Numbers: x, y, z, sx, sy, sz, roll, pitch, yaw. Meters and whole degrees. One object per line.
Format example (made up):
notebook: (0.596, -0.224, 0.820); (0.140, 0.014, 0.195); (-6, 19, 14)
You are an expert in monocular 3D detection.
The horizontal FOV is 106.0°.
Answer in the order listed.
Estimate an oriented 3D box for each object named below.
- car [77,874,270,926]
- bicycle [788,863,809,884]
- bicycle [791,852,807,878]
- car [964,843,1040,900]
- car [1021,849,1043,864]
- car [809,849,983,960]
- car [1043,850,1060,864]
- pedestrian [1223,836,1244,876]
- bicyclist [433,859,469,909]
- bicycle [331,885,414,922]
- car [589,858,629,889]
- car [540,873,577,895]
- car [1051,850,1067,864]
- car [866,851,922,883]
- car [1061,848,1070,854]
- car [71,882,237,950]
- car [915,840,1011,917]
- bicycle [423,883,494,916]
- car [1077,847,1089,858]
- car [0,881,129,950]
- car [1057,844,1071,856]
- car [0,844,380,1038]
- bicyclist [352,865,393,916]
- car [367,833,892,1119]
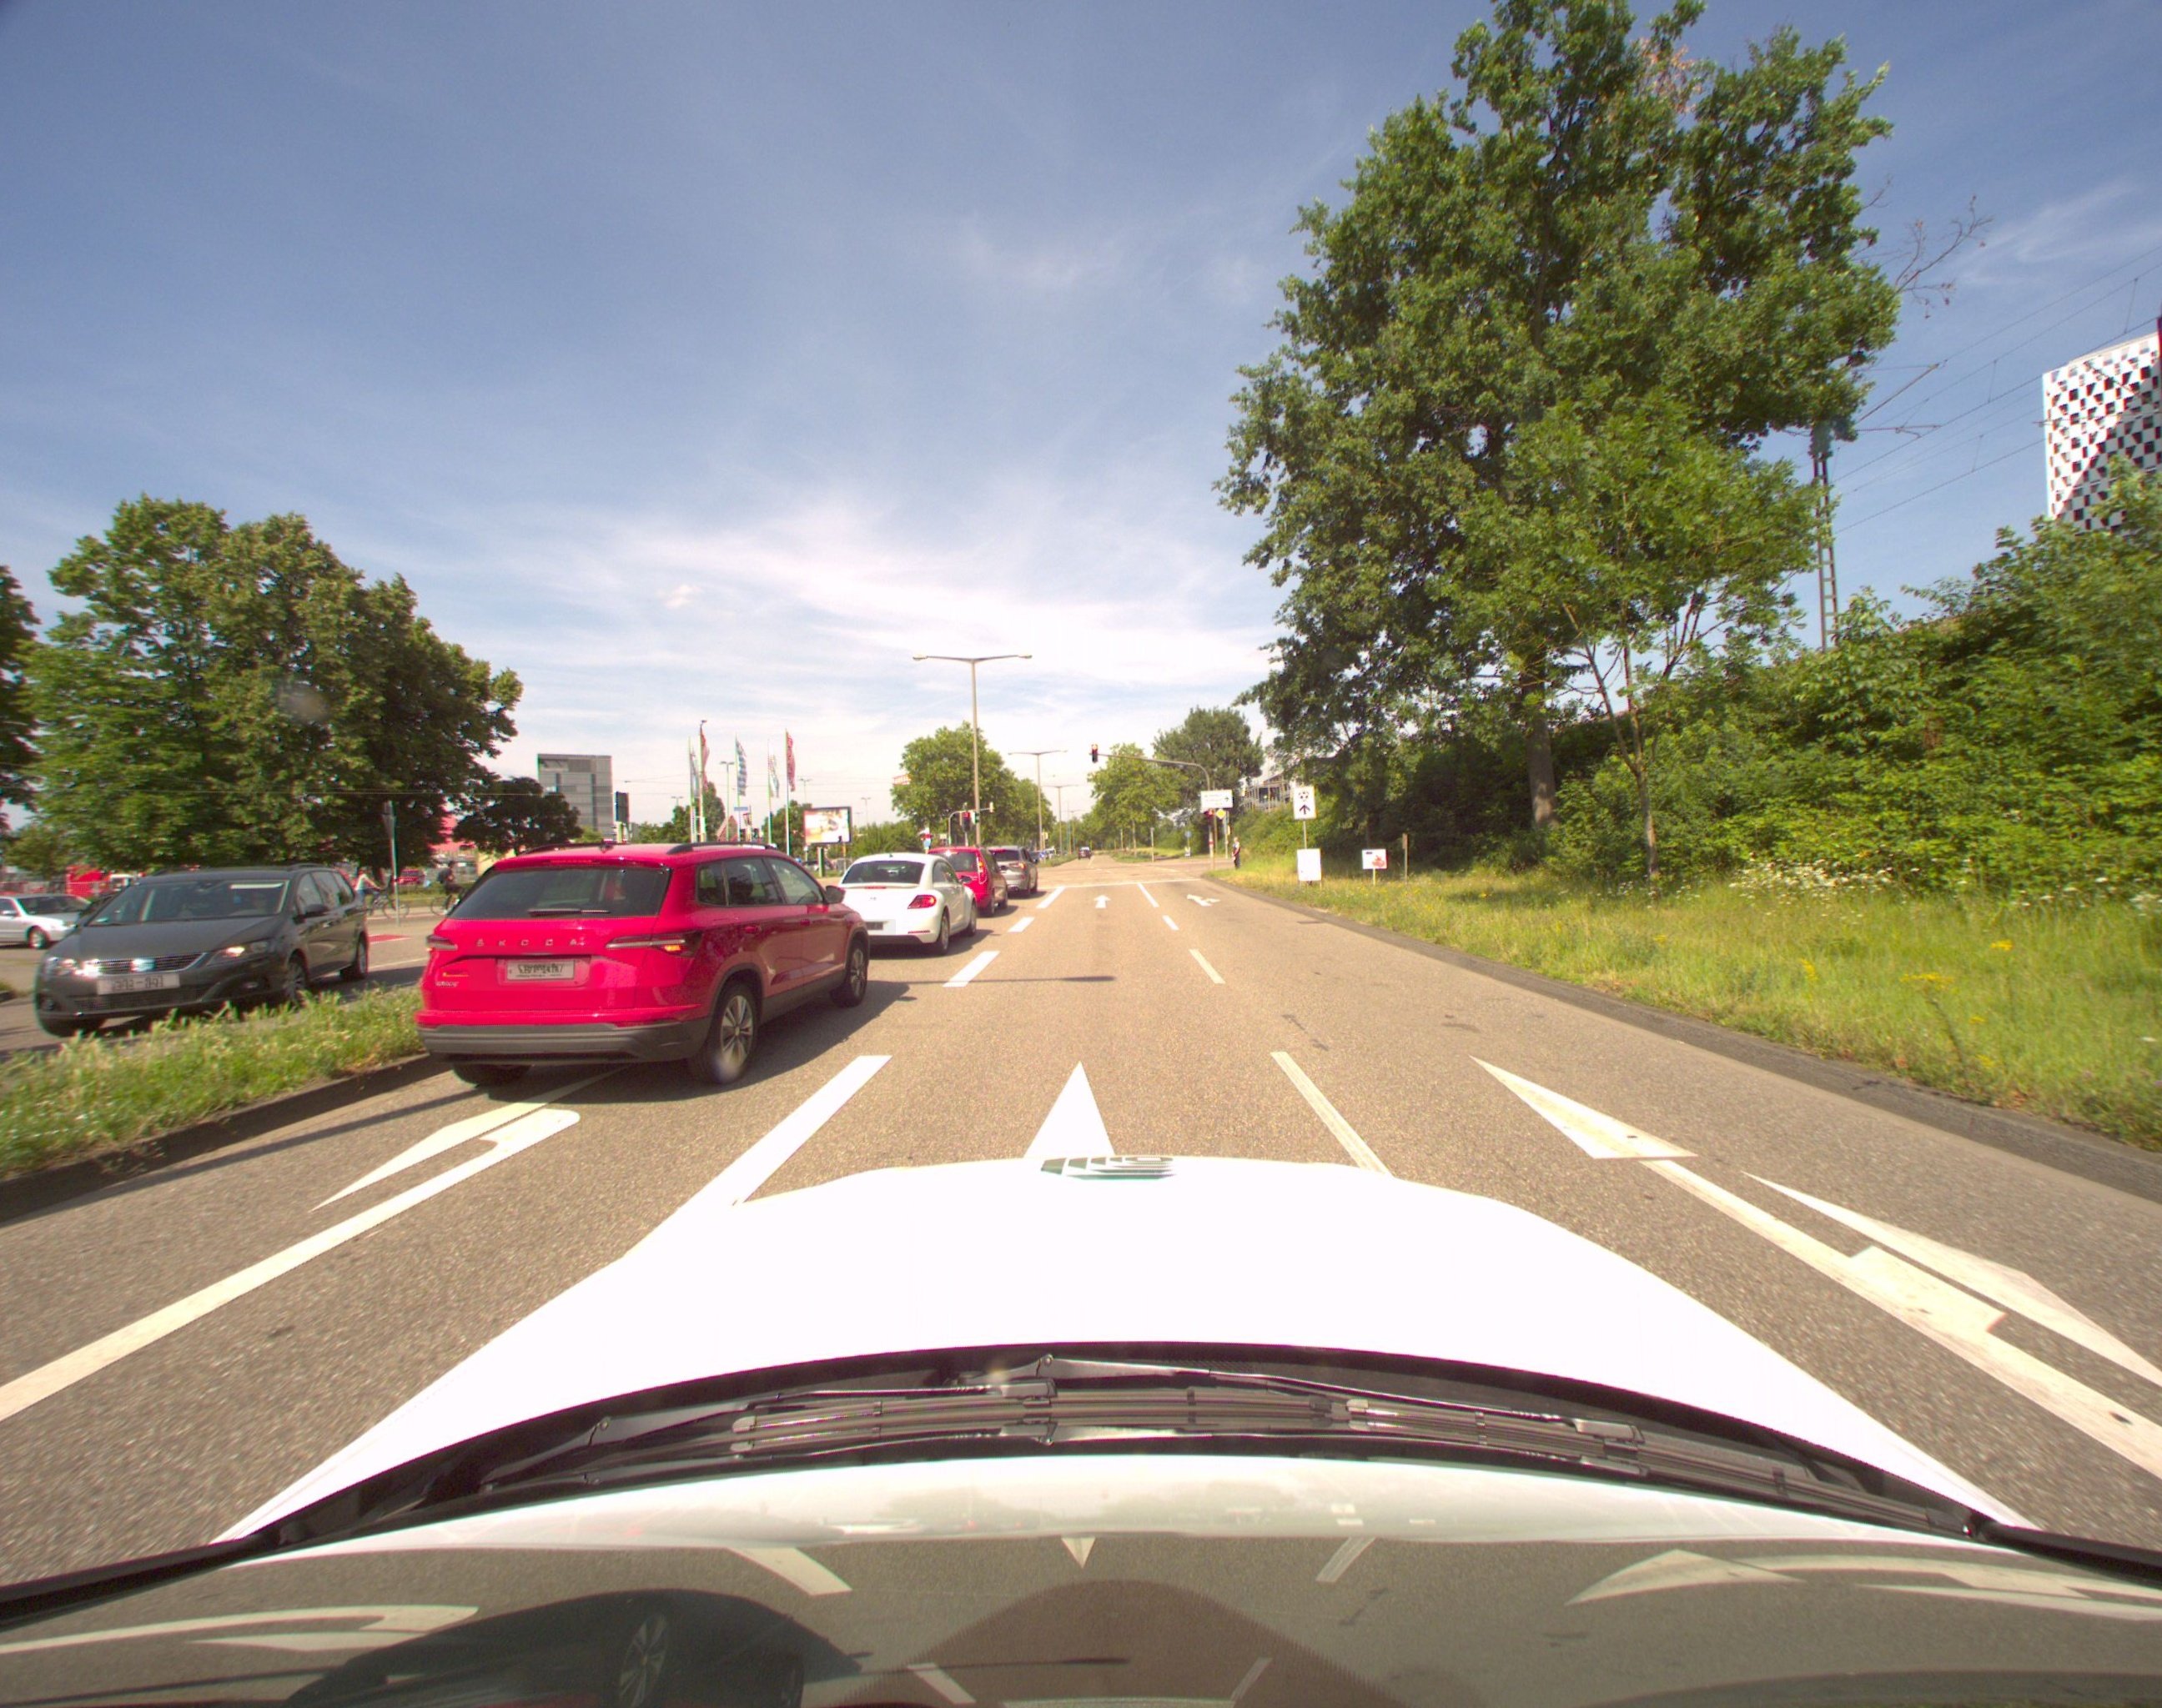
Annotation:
car: (-30.315, 1.496, 27.413); (4.020, 1.420, 1.977); (-3, 1, -39)
bicycle: (-18.254, 1.234, 52.668); (0.670, 1.256, 2.244); (-3, 0, -3)
bicycle: (-18.259, 0.702, 52.684); (0.671, 1.615, 0.991); (-3, 0, -4)
car: (-2.455, 0.506, 26.300); (1.874, 1.618, 4.214); (-2, 0, 1)
car: (-5.332, 0.280, 88.706); (1.986, 1.500, 4.001); (-2, 0, 1)
car: (-2.762, 0.677, 13.141); (1.760, 1.479, 4.137); (-1, 0, 1)
car: (-3.807, 0.368, 105.053); (1.896, 1.596, 4.001); (-2, 0, 1)
pedestrian: (7.496, 0.085, 39.959); (0.835, 1.932, 0.771); (-2, 2, -2)
bicyclist: (-22.669, 1.063, 29.336); (0.904, 1.715, 0.774); (-3, 3, -34)
bicycle: (-23.945, 1.655, 27.574); (2.019, 1.039, 0.737); (-3, 3, -35)
car: (-40.627, 1.675, 70.089); (2.011, 2.532, 4.583); (-3, 1, -42)
car: (-43.328, 2.484, 67.519); (2.011, 1.684, 3.953); (-3, 1, -40)
car: (-3.114, 0.443, 117.335); (1.987, 1.895, 4.376); (-2, 0, 1)
car: (-9.864, 0.659, 43.245); (1.769, 1.470, 4.002); (-4, 0, 2)
car: (-4.977, -0.933, 255.970); (1.869, 1.694, 4.388); (-2, 0, -14)
car: (-22.660, 1.467, 19.900); (3.949, 1.388, 1.776); (-2, 1, 28)
car: (-2.730, 0.550, 19.640); (1.623, 1.595, 3.919); (-2, -1, 1)
bicycle: (-22.496, 1.622, 29.478); (1.962, 0.983, 0.781); (-3, 3, -35)
car: (0.324, -0.295, 127.271); (1.730, 1.535, 4.003); (-2, 3, 2)
car: (-27.776, 1.647, 21.470); (4.121, 1.603, 1.729); (-3, 0, 13)
car: (-2.728, -0.694, 133.287); (1.986, 1.895, 4.377); (-2, 0, 1)
car: (-10.435, 0.851, 9.990); (1.874, 1.750, 4.358); (-3, 0, -29)
bicyclist: (-23.966, 1.220, 27.566); (0.904, 1.646, 0.780); (-3, 3, -34)
car: (-3.093, 0.673, 6.915); (1.776, 1.593, 4.595); (-1, 0, 1)
